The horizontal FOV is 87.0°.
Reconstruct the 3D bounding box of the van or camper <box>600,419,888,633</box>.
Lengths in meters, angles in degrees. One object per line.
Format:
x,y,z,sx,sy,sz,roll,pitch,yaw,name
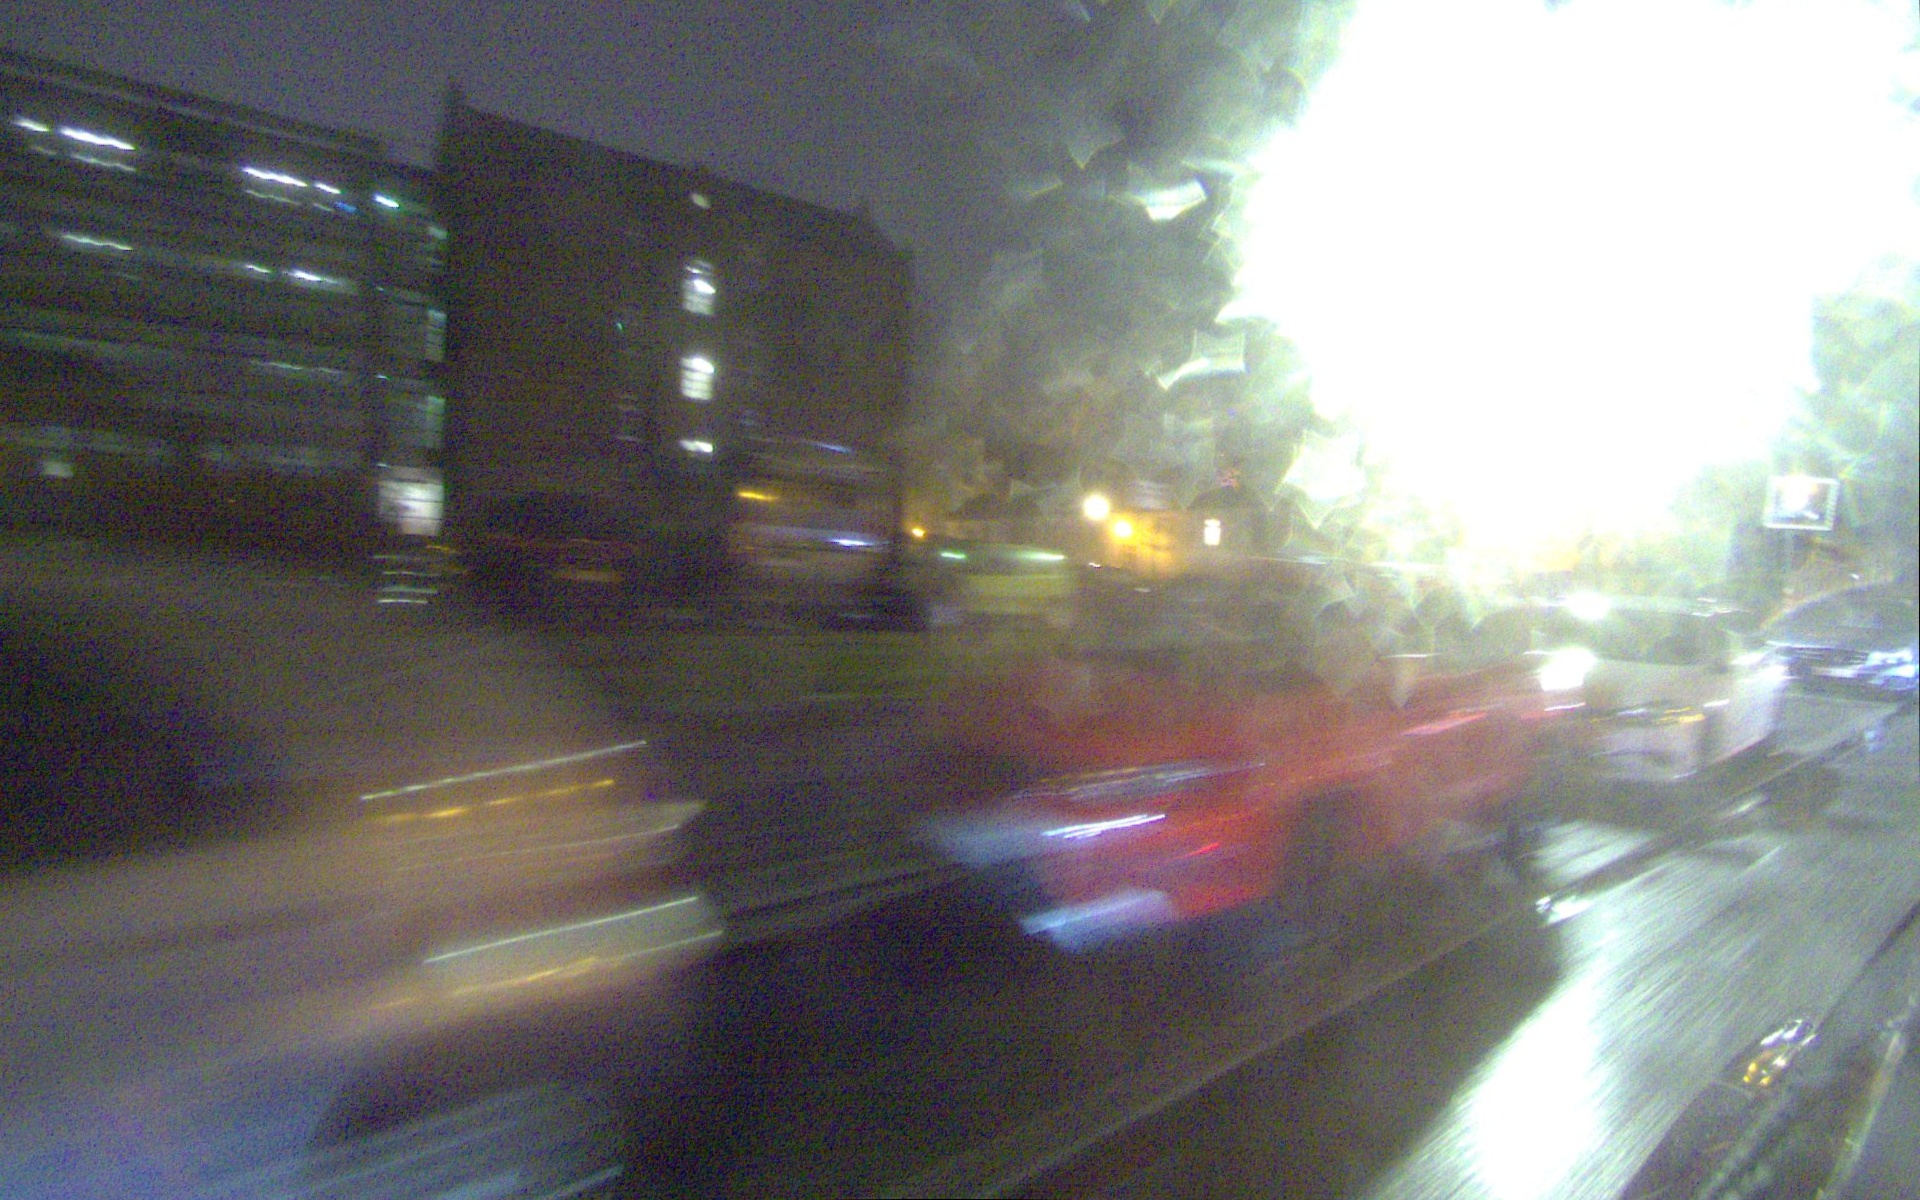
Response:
-3.365,-1.000,14.826,2.131,2.558,5.078,0,2,-37,van or camper

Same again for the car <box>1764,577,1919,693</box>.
14.290,0.459,15.870,4.708,1.466,1.793,0,4,-42,car

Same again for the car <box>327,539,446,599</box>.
-13.265,-0.739,23.306,1.616,1.264,3.995,0,2,-41,car

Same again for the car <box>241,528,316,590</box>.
-21.335,-1.283,31.624,1.674,1.802,3.999,0,2,-38,car

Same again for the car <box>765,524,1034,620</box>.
-1.011,-0.490,18.646,4.779,1.567,1.834,0,2,-39,car

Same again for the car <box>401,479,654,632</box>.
-5.681,-0.568,12.994,1.774,1.637,4.226,0,2,-41,car

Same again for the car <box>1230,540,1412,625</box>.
8.065,-0.388,22.452,4.182,1.717,1.908,-1,1,-39,car

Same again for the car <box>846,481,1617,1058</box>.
1.636,0.451,5.045,4.116,1.728,1.716,0,4,-43,car

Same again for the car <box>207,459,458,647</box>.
-6.935,-0.505,10.974,1.656,1.637,4.226,0,2,-41,car

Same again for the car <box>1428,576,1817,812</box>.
5.906,0.583,8.792,4.360,1.507,1.716,-1,3,-42,car

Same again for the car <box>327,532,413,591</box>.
-19.743,-1.302,33.771,1.873,1.827,4.665,-1,3,-38,car

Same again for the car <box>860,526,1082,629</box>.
0.228,-0.359,16.353,3.346,1.487,1.567,0,2,-39,car

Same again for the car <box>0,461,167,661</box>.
-8.553,-0.391,9.419,1.656,1.539,3.995,0,2,-41,car

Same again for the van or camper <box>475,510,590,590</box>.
-15.113,-1.757,35.559,2.340,2.584,5.391,-1,3,-39,van or camper

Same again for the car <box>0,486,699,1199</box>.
-2.672,0.543,1.439,4.082,1.547,1.758,0,4,-42,car

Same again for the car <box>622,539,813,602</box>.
-5.855,-0.702,24.663,4.182,1.431,1.684,0,2,-38,car

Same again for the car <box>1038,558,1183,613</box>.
4.421,-0.434,29.480,4.182,1.486,1.831,-1,1,-39,car
